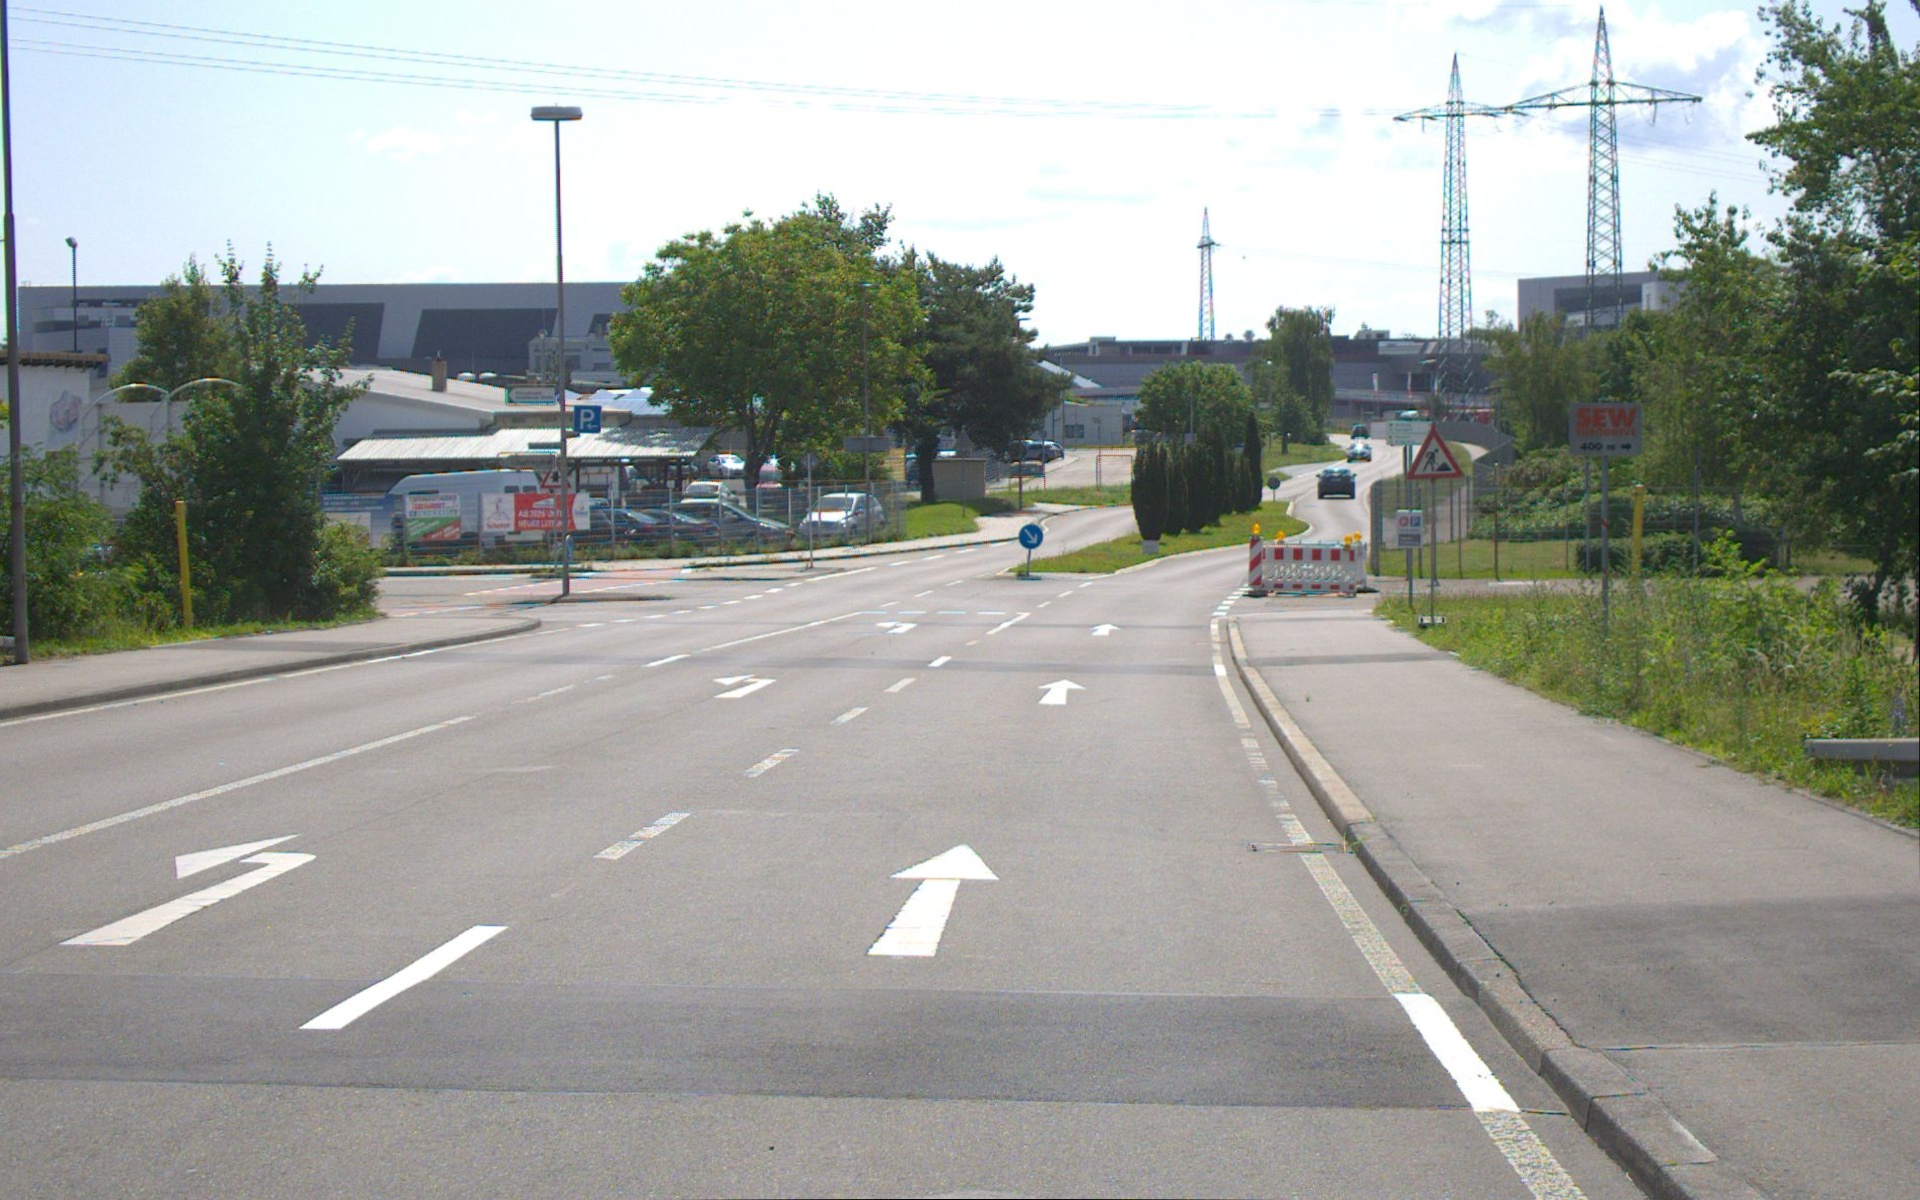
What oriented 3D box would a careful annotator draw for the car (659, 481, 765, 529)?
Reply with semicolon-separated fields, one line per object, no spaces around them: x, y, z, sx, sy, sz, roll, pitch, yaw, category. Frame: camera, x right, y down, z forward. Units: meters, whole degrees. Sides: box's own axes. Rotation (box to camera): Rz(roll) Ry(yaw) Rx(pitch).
-9.588;-3.677;132.668;3.986;1.843;1.835;0;2;-6;car

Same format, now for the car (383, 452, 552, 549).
-13.567;-2.744;94.660;4.359;2.599;1.996;1;2;33;car

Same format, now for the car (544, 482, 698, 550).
-9.706;-2.423;98.265;3.994;1.774;1.997;3;4;31;car

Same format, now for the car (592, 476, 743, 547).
-8.526;-2.590;100.204;3.994;1.897;1.997;3;4;31;car

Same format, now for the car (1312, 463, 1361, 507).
18.571;-5.676;169.593;2.272;1.939;4.665;3;4;6;car

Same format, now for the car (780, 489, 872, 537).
-4.333;-2.847;111.719;1.830;1.512;3.585;1;2;19;car
